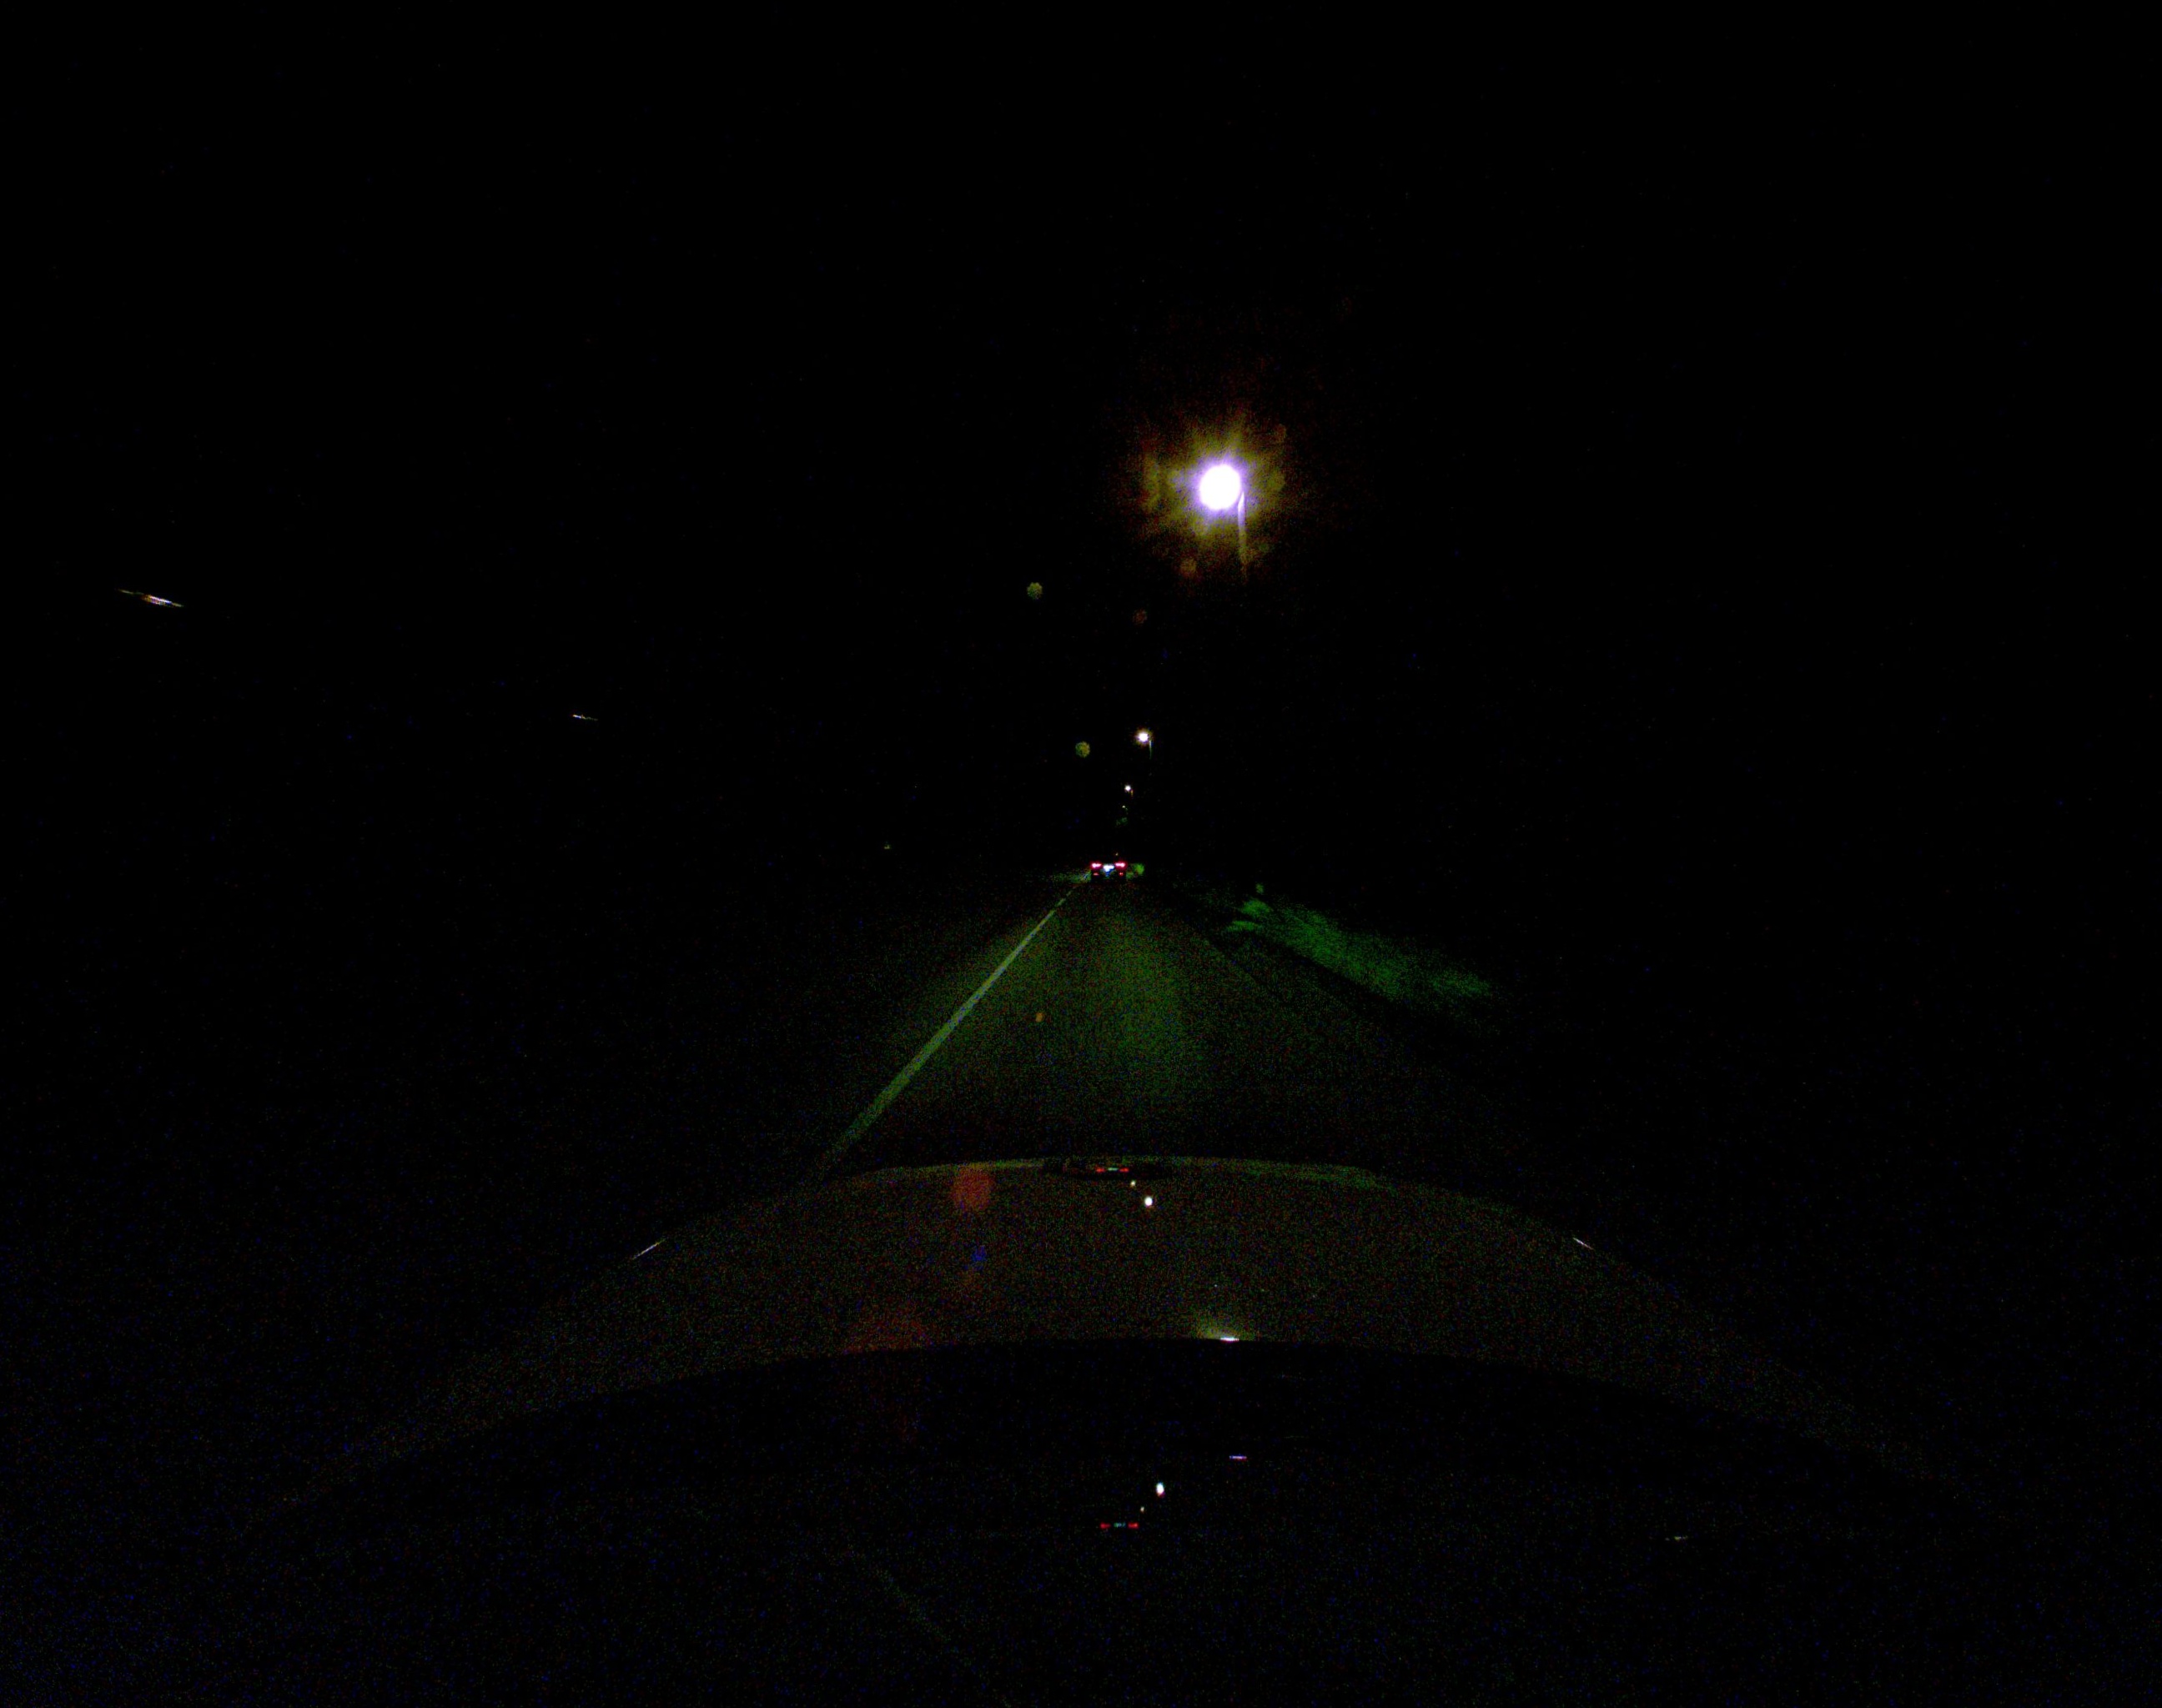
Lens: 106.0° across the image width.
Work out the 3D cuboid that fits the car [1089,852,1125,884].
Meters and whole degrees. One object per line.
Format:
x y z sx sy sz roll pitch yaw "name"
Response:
1.396 0.711 43.407 1.808 1.573 3.945 -2 0 2 "car"
